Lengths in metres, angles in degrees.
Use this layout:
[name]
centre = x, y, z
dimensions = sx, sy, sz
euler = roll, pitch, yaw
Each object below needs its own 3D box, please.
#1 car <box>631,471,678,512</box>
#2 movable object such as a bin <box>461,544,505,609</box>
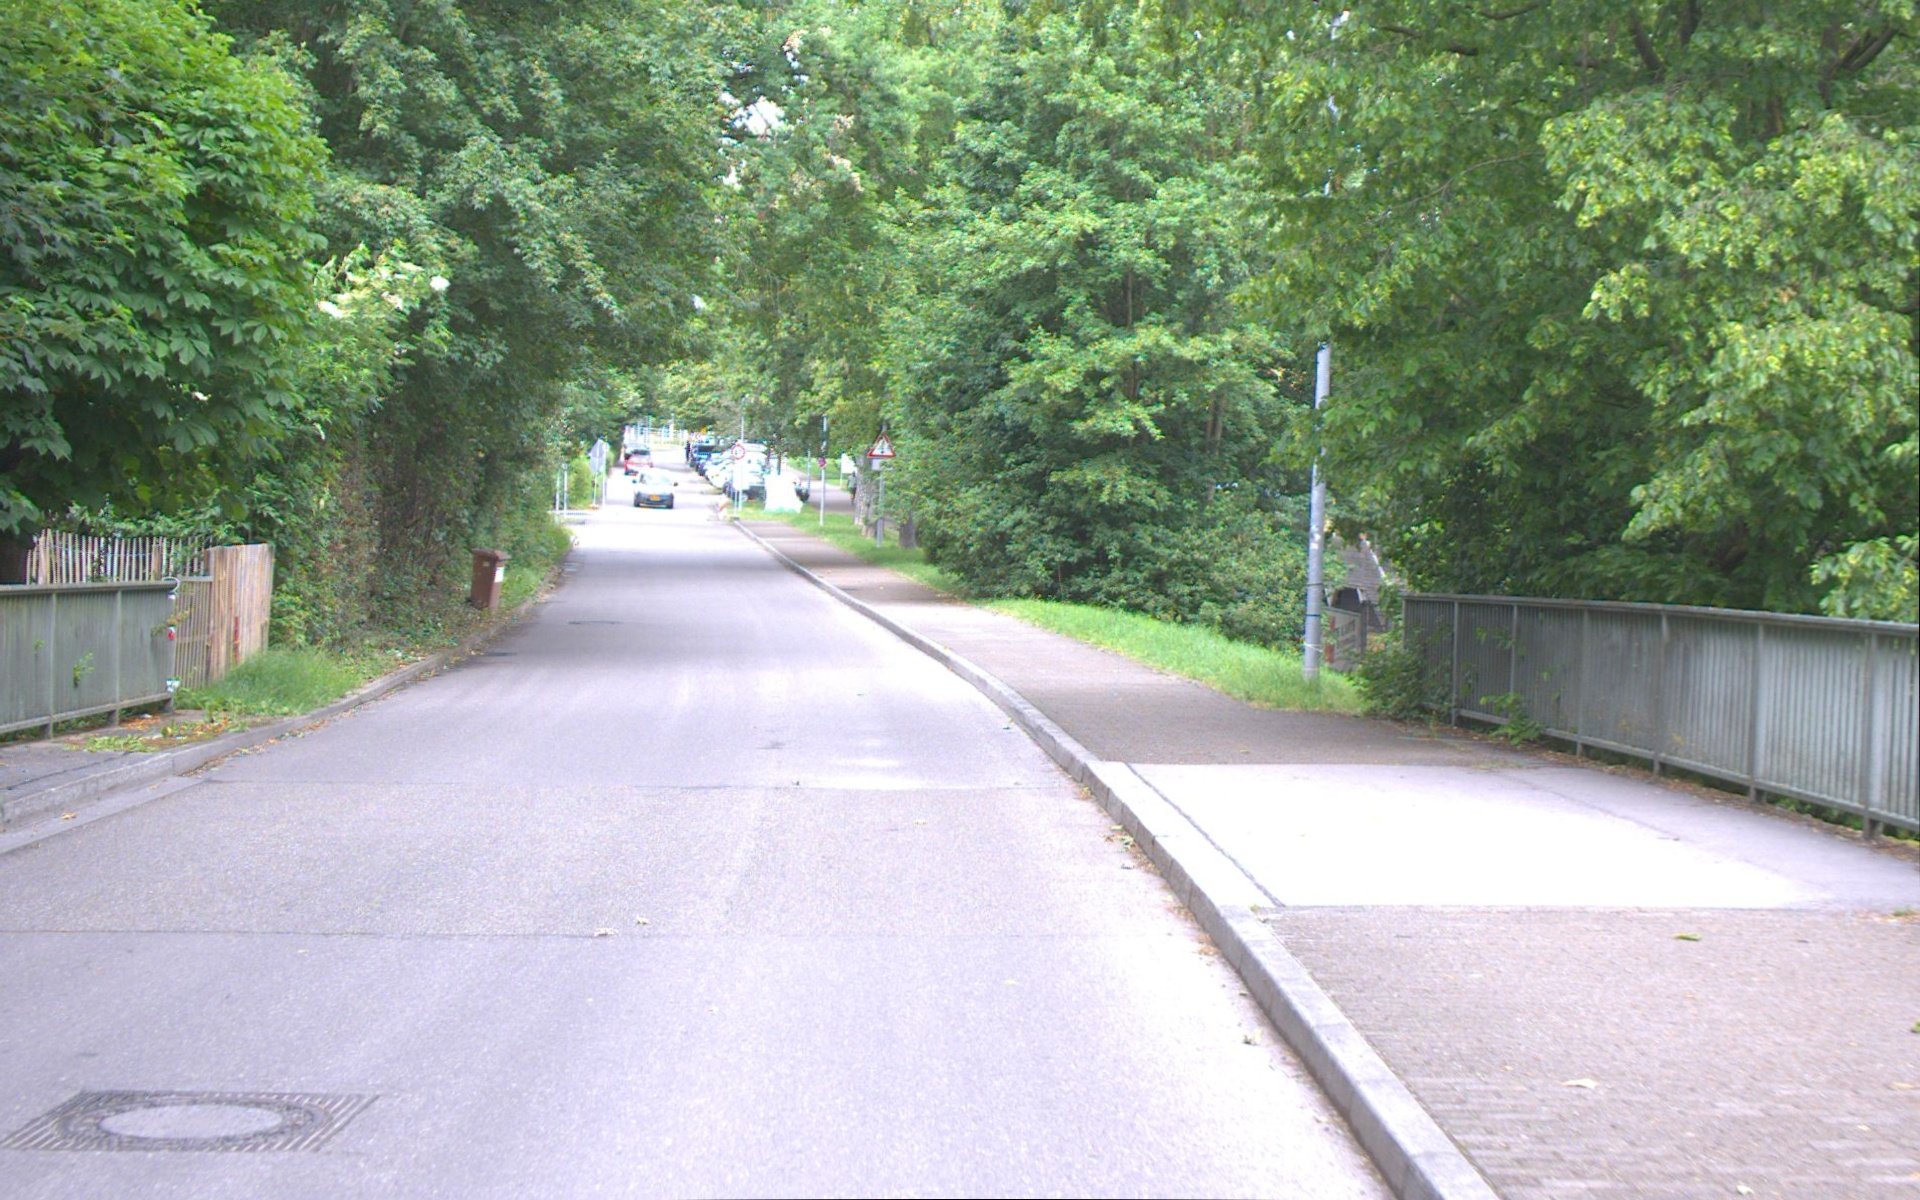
[car]
centre = -14.093, -4.995, 158.822
dimensions = 1.993, 1.766, 4.001
euler = 2, 0, -4
[movable object such as a bin]
centre = -7.135, -0.357, 51.427
dimensions = 0.590, 0.954, 0.470
euler = 2, 0, -4
